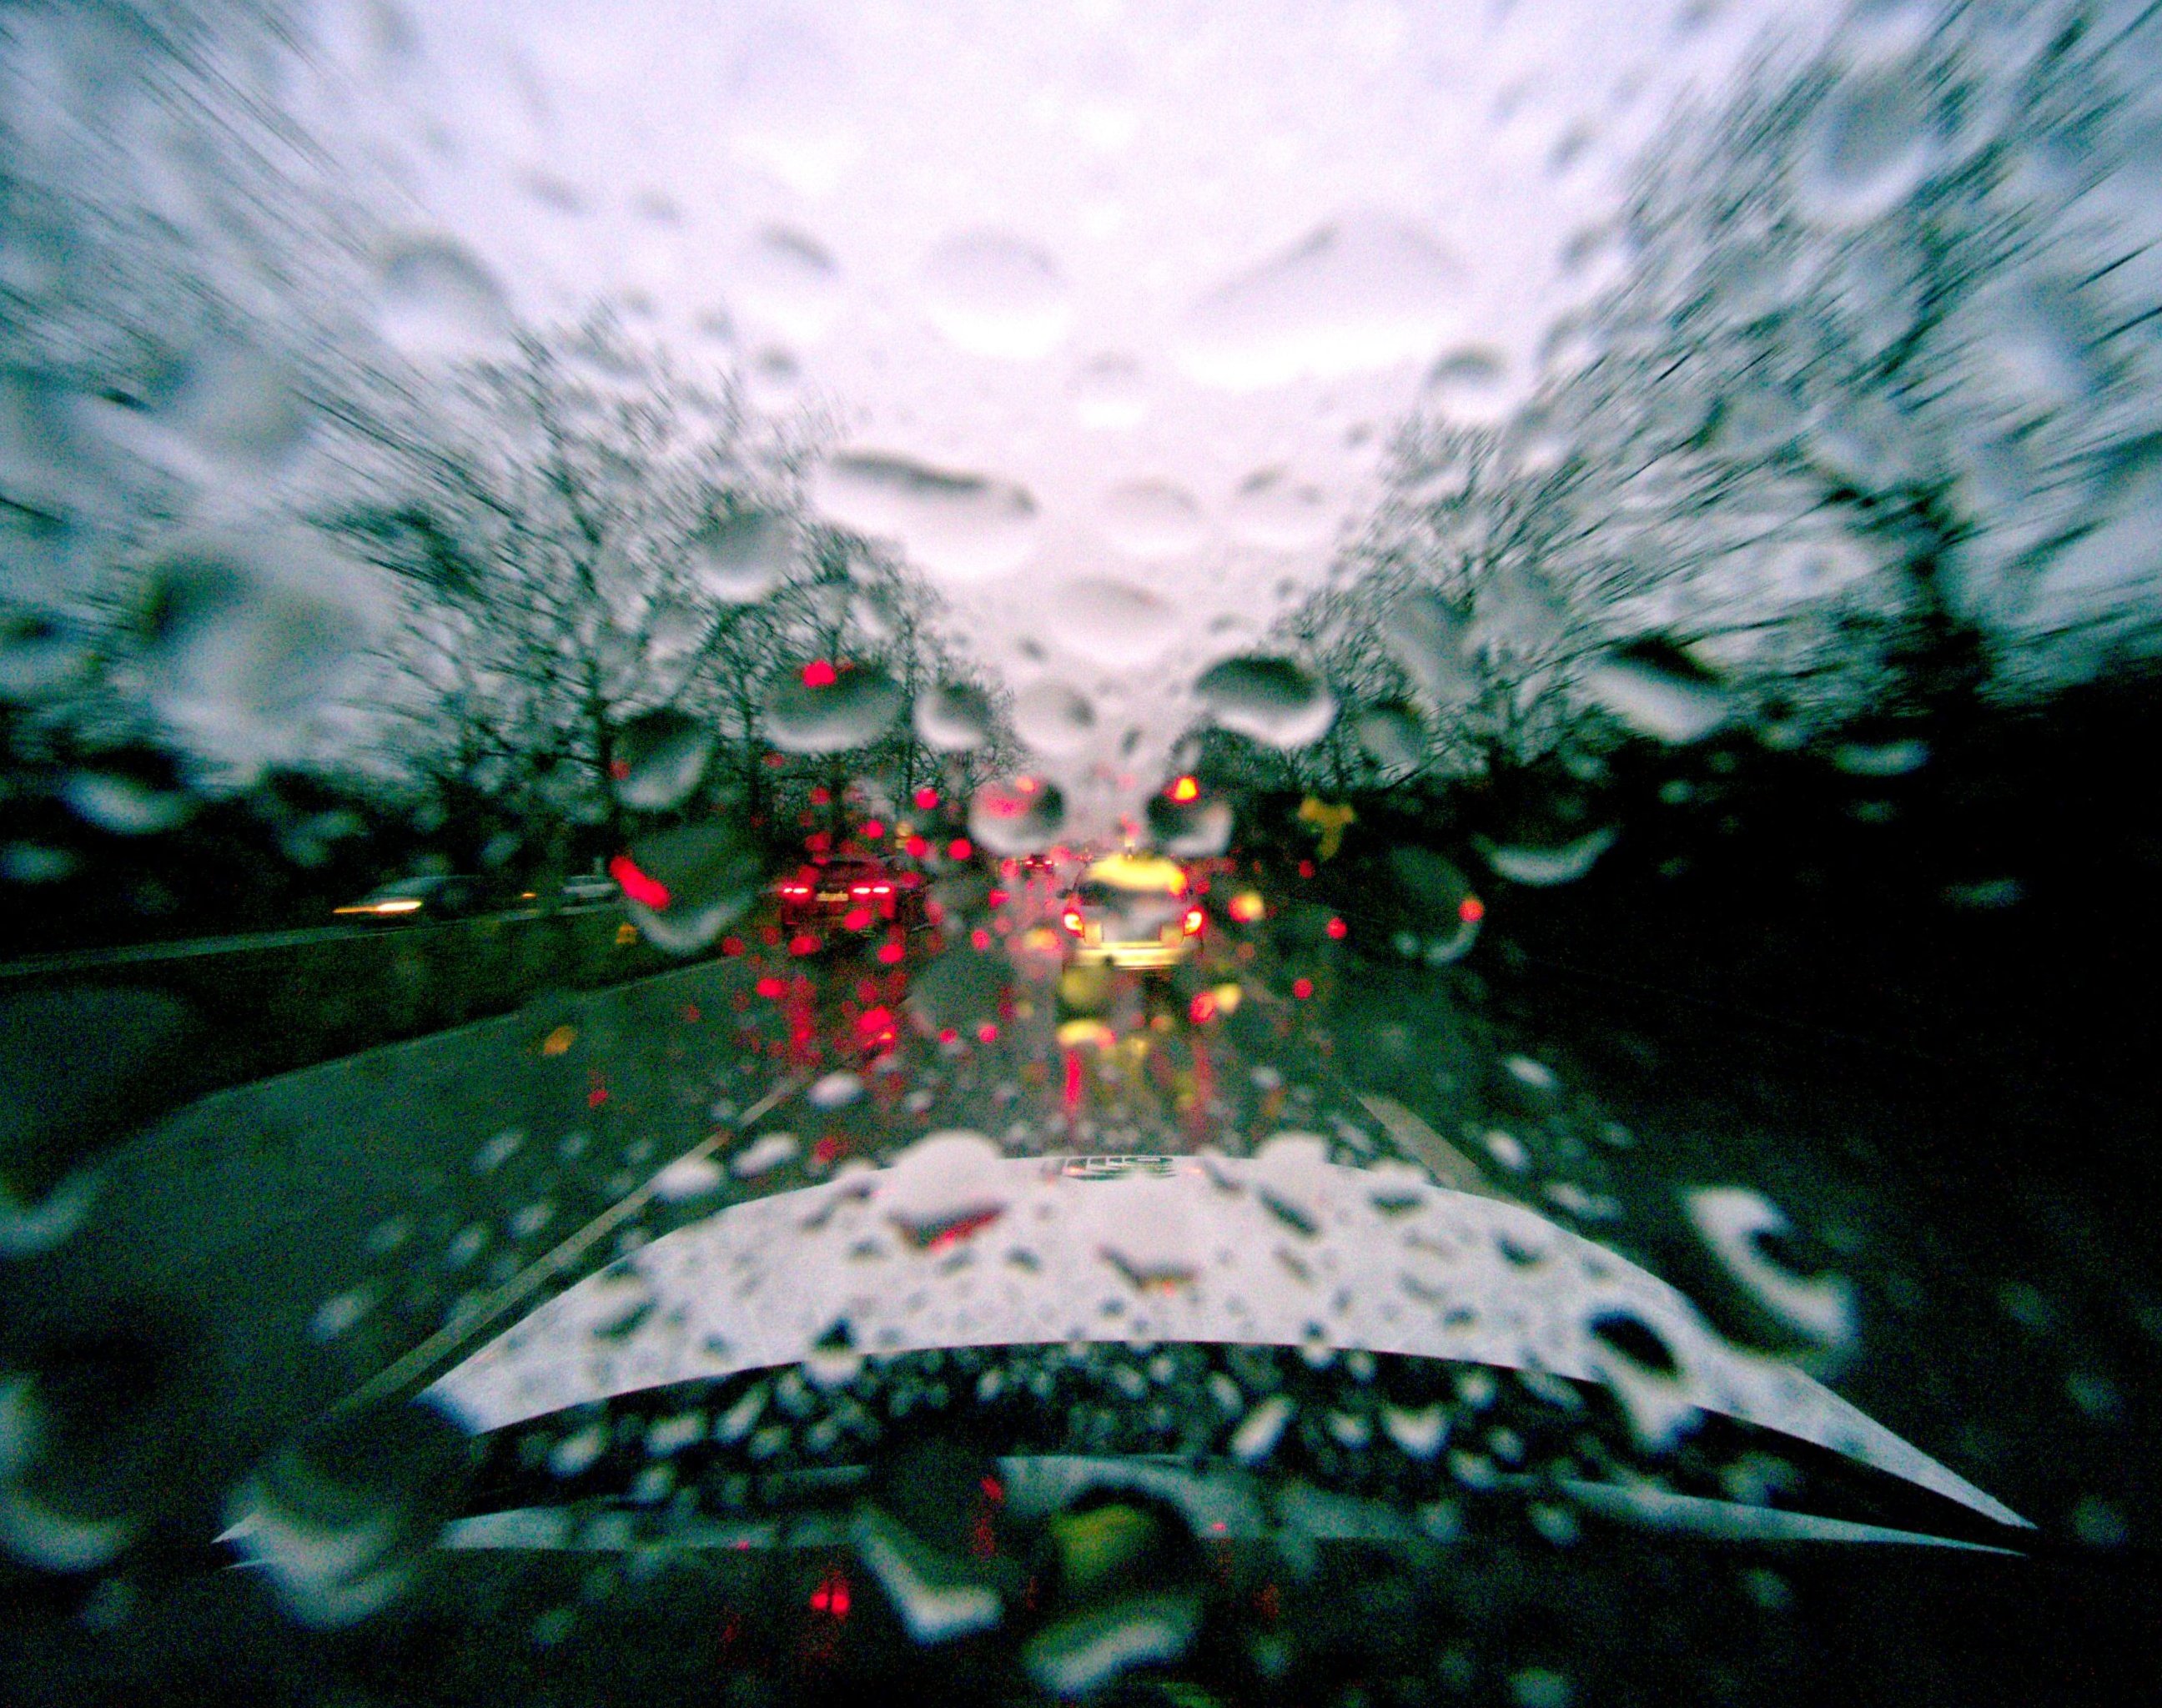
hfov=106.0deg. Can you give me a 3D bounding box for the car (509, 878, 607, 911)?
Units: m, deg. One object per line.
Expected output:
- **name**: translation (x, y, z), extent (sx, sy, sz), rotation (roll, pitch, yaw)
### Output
- **car**: translation (-25.514, 1.935, 39.933), extent (1.740, 1.395, 4.304), rotation (-2, -1, 4)

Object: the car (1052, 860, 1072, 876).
- **car**: translation (-1.875, 1.384, 82.716), extent (1.783, 1.545, 4.001), rotation (-2, -1, 2)

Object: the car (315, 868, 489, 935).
- **car**: translation (-19.649, 1.314, 23.815), extent (1.611, 1.681, 3.983), rotation (-1, 0, 2)

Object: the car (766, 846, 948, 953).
- **car**: translation (-3.715, 0.697, 14.399), extent (1.987, 1.601, 4.308), rotation (0, 0, 0)

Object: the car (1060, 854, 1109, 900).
- **car**: translation (0.203, 0.931, 34.130), extent (1.890, 1.767, 4.310), rotation (-1, -1, 2)

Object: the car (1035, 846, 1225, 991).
- **car**: translation (0.597, 0.715, 10.773), extent (1.986, 1.500, 4.139), rotation (-2, -1, 2)

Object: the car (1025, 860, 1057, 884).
- **car**: translation (-2.652, 1.185, 55.288), extent (1.783, 1.545, 4.001), rotation (-2, -1, 2)
